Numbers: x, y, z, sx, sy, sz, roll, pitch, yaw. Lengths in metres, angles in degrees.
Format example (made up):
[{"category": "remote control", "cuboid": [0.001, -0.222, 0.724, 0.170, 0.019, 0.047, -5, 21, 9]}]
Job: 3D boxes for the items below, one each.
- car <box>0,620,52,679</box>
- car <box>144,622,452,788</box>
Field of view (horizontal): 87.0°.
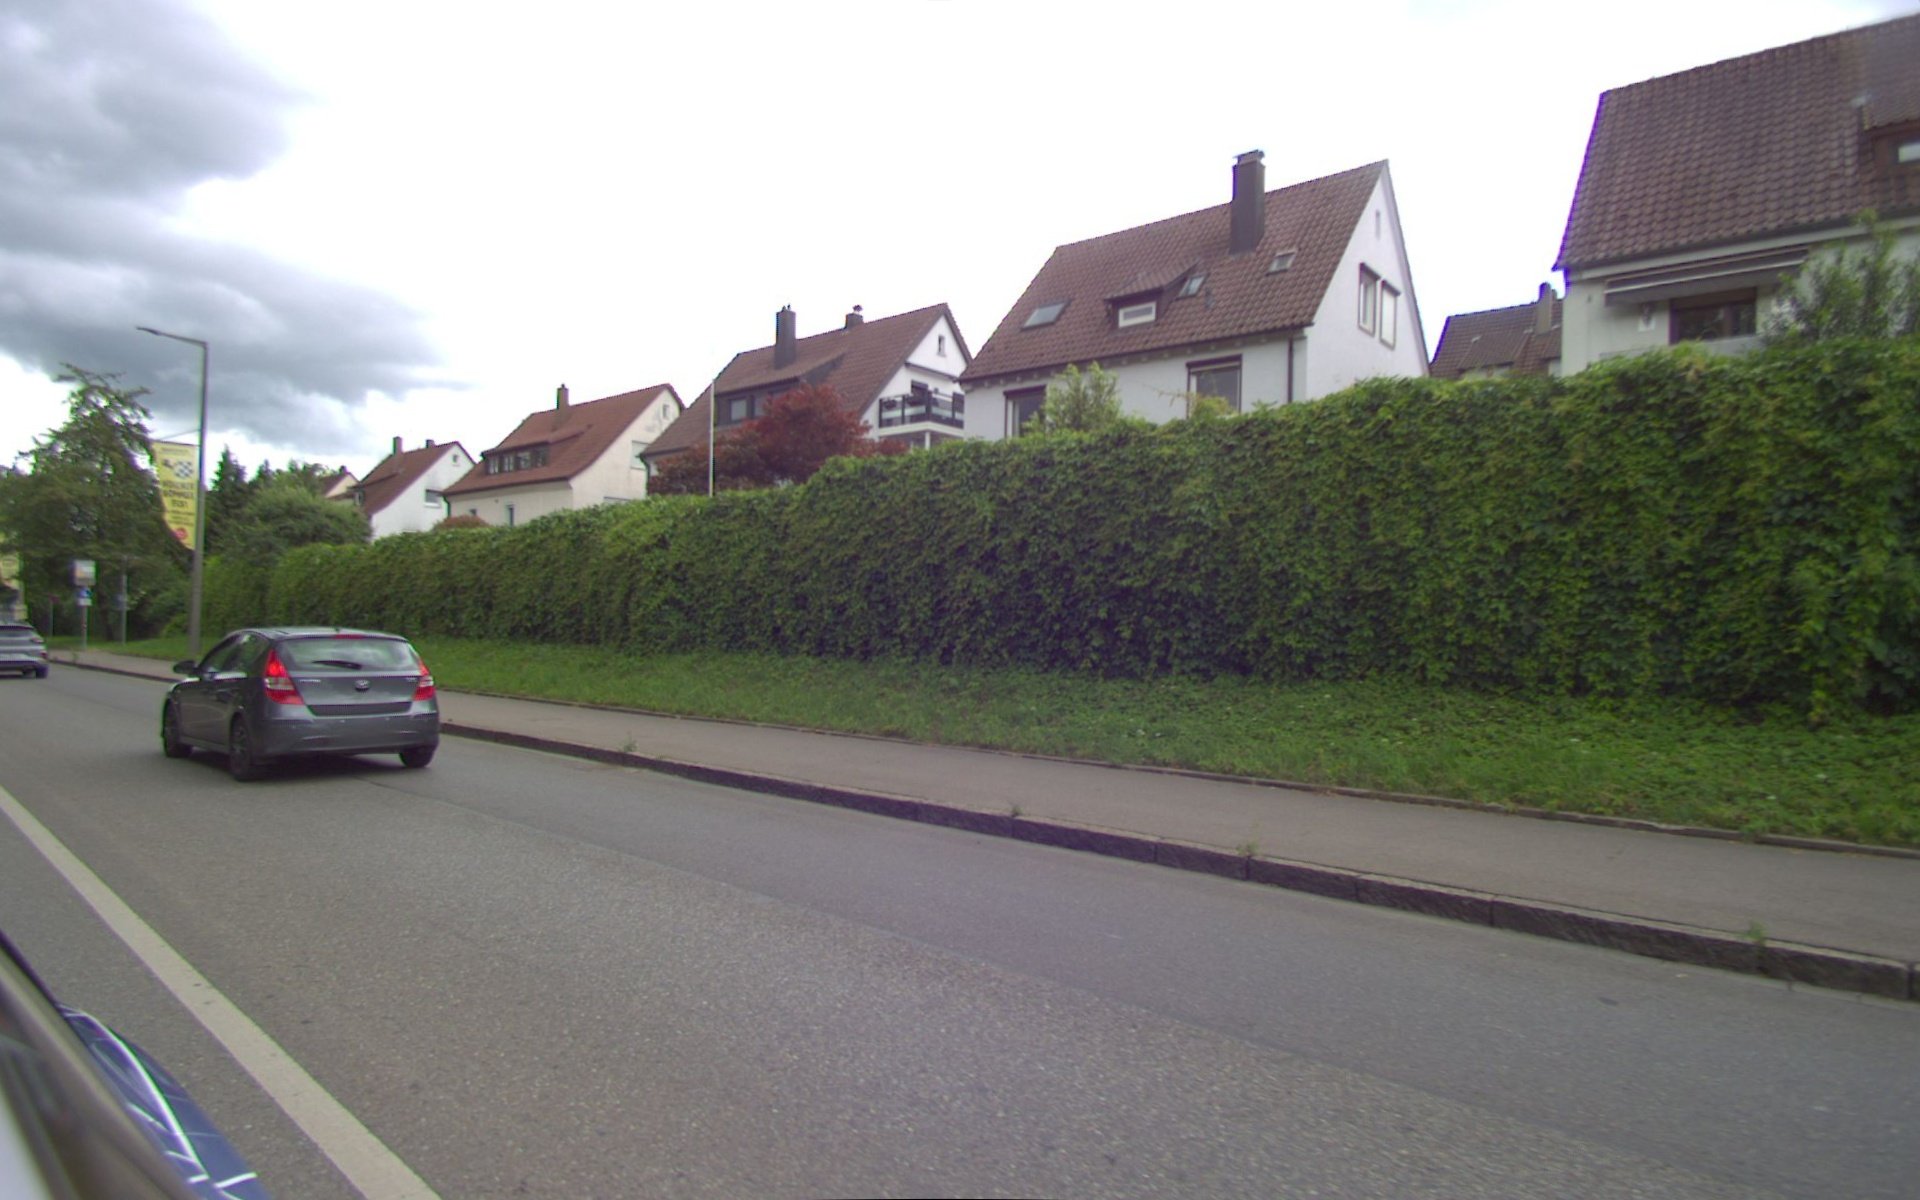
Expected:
[{"category": "car", "cuboid": [-26.303, 1.335, 27.549, 3.997, 1.530, 1.734, -2, -4, 40]}, {"category": "car", "cuboid": [-7.307, 1.007, 11.016, 4.151, 1.475, 1.710, -1, -3, 41]}]
